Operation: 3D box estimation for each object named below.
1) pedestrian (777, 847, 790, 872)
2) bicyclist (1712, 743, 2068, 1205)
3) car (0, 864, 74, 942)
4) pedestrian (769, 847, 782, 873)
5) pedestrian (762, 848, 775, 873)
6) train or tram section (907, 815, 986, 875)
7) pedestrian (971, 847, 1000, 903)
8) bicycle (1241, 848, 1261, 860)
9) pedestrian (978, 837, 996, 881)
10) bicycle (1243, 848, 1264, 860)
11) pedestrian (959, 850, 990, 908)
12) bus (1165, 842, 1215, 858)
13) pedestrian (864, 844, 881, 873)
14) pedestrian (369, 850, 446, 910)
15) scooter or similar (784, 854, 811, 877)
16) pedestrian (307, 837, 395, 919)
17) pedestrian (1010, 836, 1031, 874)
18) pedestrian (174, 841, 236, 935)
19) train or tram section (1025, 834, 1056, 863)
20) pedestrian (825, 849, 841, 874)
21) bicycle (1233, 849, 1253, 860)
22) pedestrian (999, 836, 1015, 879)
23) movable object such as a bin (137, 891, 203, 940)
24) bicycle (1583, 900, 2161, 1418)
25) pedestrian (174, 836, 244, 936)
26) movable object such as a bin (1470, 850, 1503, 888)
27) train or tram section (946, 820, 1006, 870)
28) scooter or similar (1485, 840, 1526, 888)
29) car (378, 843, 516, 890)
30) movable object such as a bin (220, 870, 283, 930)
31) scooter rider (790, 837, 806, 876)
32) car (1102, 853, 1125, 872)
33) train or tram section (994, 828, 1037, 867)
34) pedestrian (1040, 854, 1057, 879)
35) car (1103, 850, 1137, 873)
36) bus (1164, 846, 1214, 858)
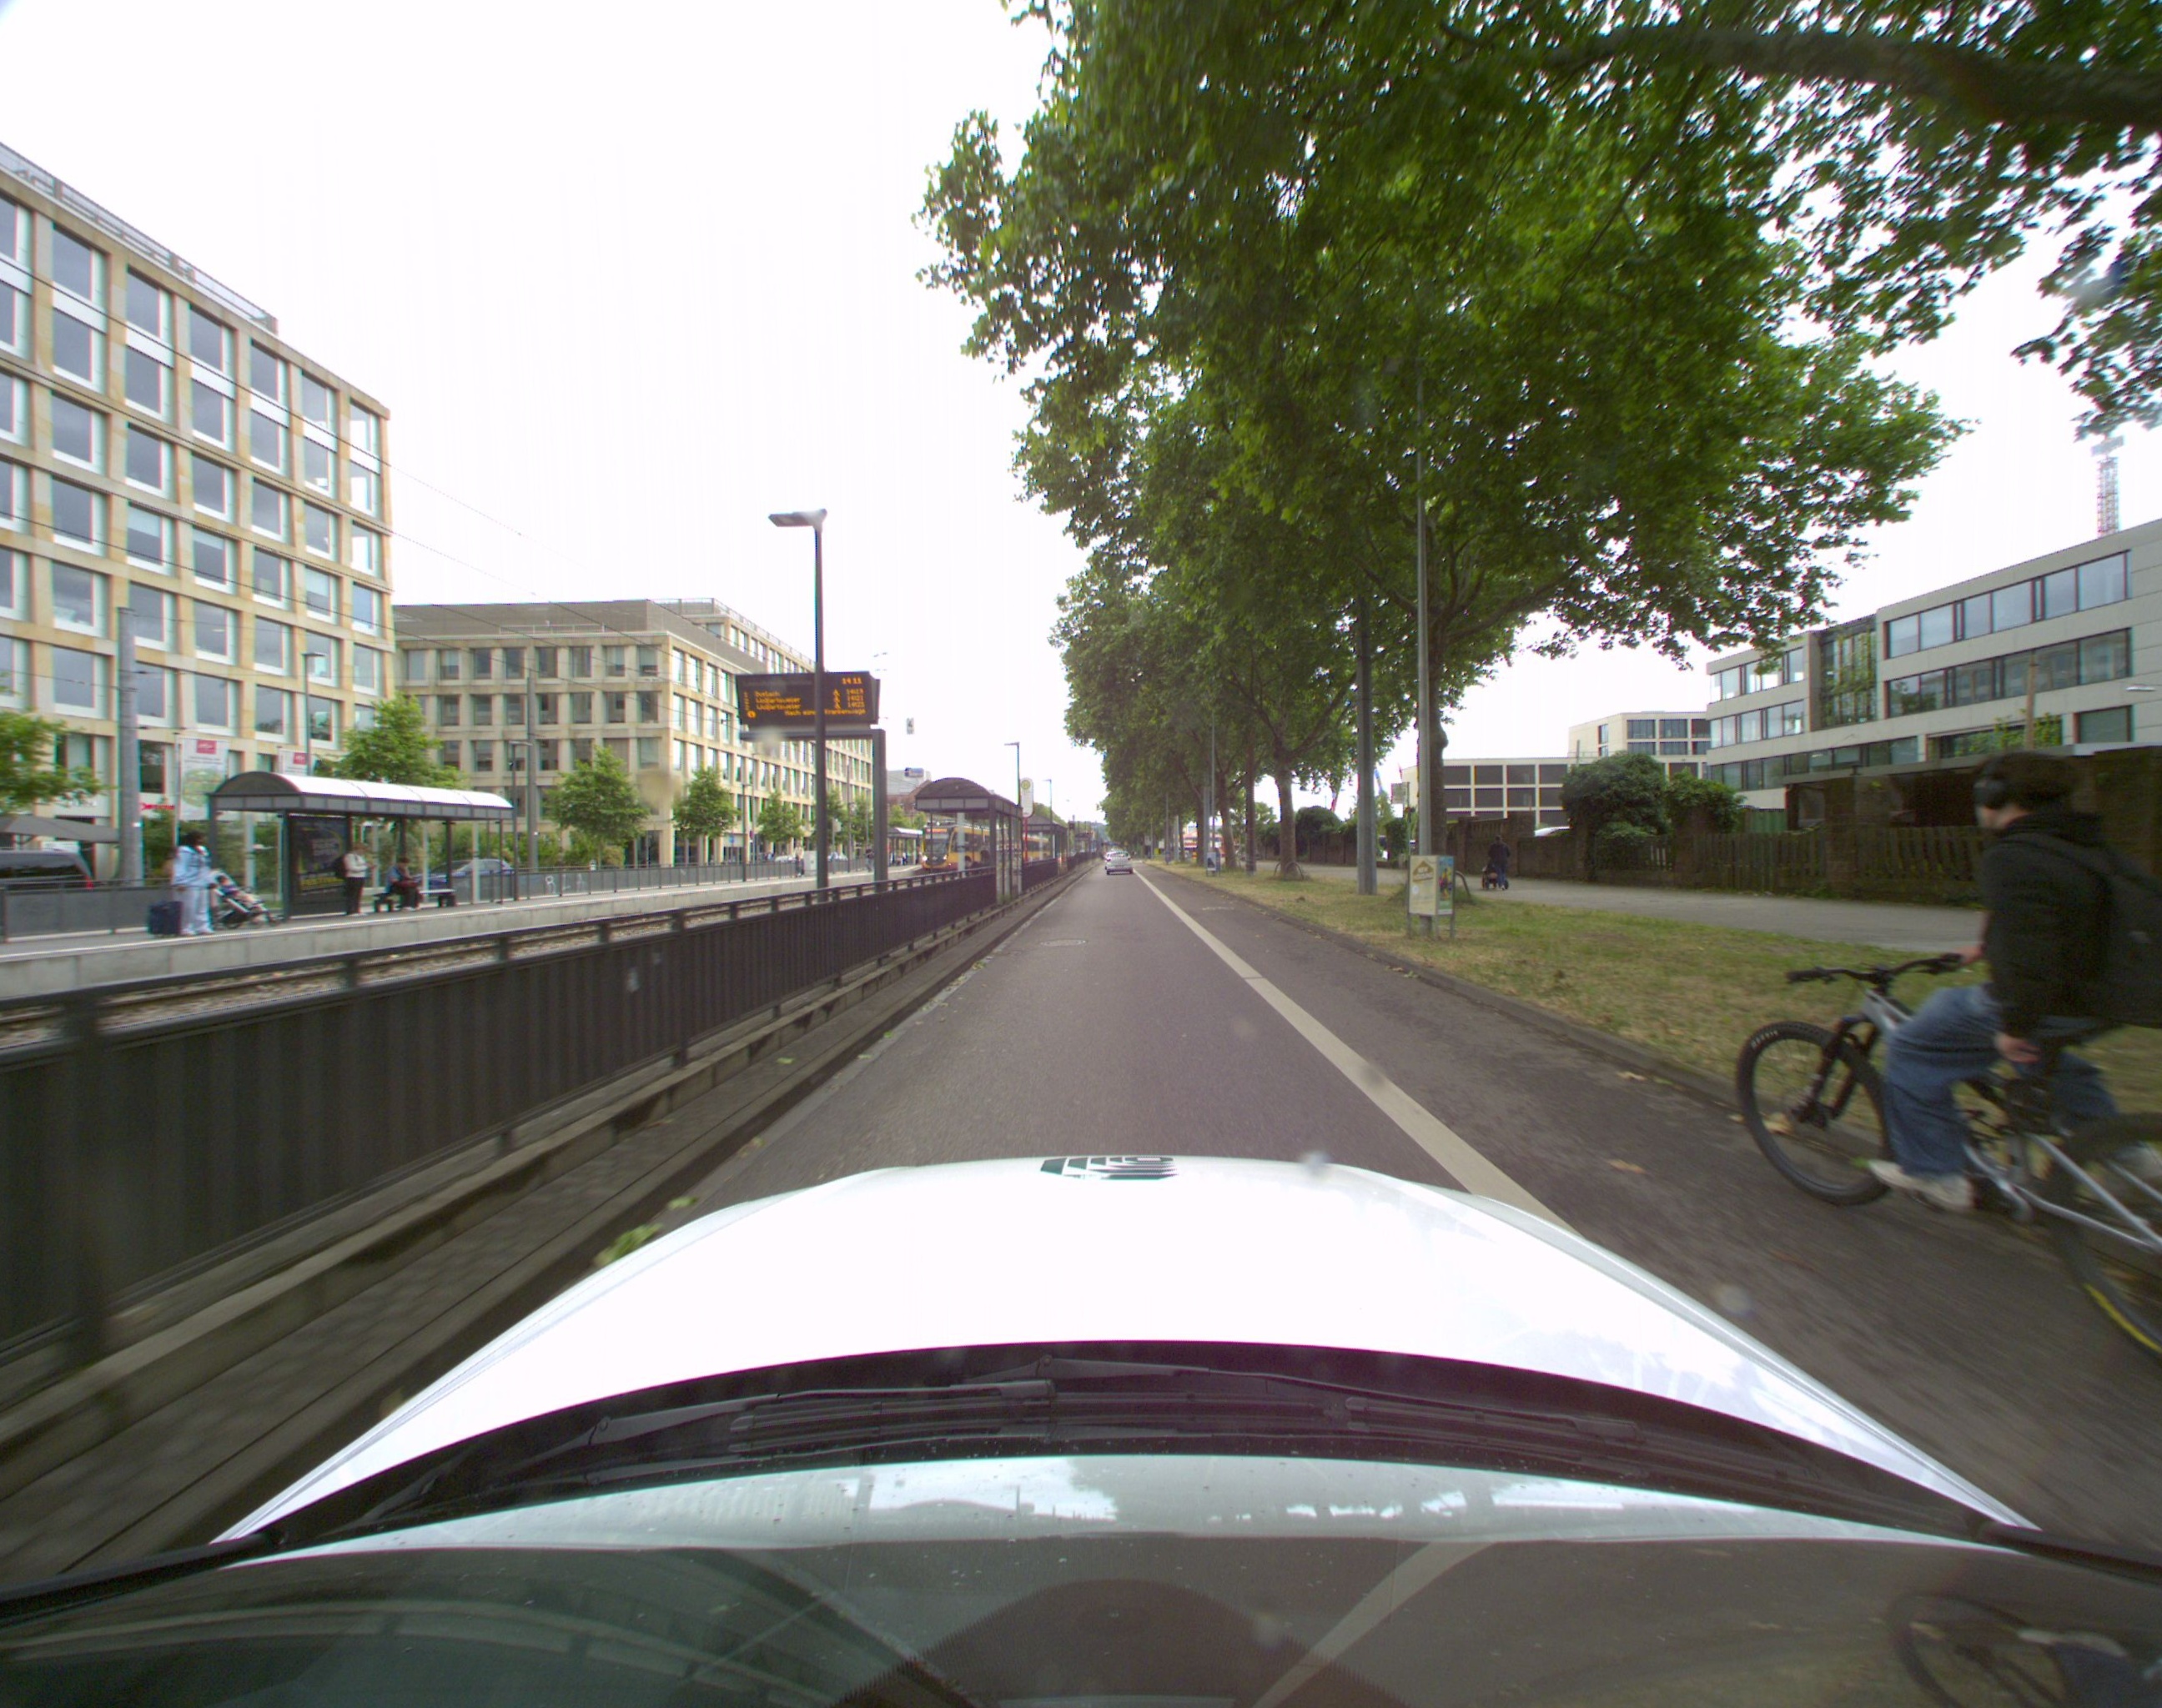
[{"bbox_3d":[-24.383,0.478,66.757,0.710,2.014,0.725,-1,-1,1],"label":"pedestrian"},{"bbox_3d":[2.958,0.400,3.051,0.639,1.531,0.664,-1,-1,0],"label":"bicyclist"},{"bbox_3d":[-24.289,1.074,16.777,1.984,1.662,4.005,-1,0,4],"label":"car"},{"bbox_3d":[-24.428,0.467,65.181,0.710,2.014,0.725,-1,-1,1],"label":"pedestrian"},{"bbox_3d":[-25.296,0.520,65.991,0.710,2.014,0.725,-1,-1,2],"label":"pedestrian"},{"bbox_3d":[-9.432,-0.520,58.800,3.224,3.862,11.319,-1,0,3],"label":"train or tram section"},{"bbox_3d":[-2.397,0.522,20.500,0.608,1.372,0.600,-1,-1,2],"label":"pedestrian"},{"bbox_3d":[16.953,0.040,81.219,1.894,1.097,0.550,-3,-1,0],"label":"bicycle"},{"bbox_3d":[-3.941,0.215,34.167,0.670,1.793,1.109,-1,-1,-11],"label":"pedestrian"},{"bbox_3d":[17.095,0.043,80.639,1.883,1.105,0.550,-3,-1,0],"label":"bicycle"},{"bbox_3d":[-2.500,0.577,19.215,0.608,1.341,0.600,-1,-1,2],"label":"pedestrian"},{"bbox_3d":[21.144,-0.749,158.156,9.248,2.960,1.999,-1,-1,-1],"label":"bus"},{"bbox_3d":[-13.045,0.270,50.882,0.709,1.795,1.161,-1,-1,1],"label":"pedestrian"},{"bbox_3d":[-16.033,0.616,19.402,1.033,1.372,0.940,-1,-1,5],"label":"pedestrian"},{"bbox_3d":[-14.645,0.587,42.077,0.521,1.114,2.227,-1,0,2],"label":"scooter or similar"},{"bbox_3d":[-15.635,0.501,17.469,1.033,1.686,0.940,-1,-1,5],"label":"pedestrian"},{"bbox_3d":[-3.336,0.054,44.846,1.054,2.014,0.840,-1,-1,2],"label":"pedestrian"},{"bbox_3d":[-15.453,0.589,14.375,0.581,1.607,0.650,-1,-1,-31],"label":"pedestrian"},{"bbox_3d":[-6.148,-0.708,126.368,3.167,4.179,14.744,-1,0,3],"label":"train or tram section"},{"bbox_3d":[-20.382,0.622,66.972,0.929,2.014,1.032,-1,-1,1],"label":"pedestrian"},{"bbox_3d":[17.094,0.090,85.799,1.915,1.091,0.550,-3,-1,0],"label":"bicycle"},{"bbox_3d":[-3.188,0.156,35.038,0.669,1.793,1.110,-1,-1,-6],"label":"pedestrian"},{"bbox_3d":[-14.397,0.964,12.875,0.532,0.747,0.470,-1,-1,9],"label":"movable object such as a bin"},{"bbox_3d":[2.975,0.818,3.158,0.650,1.150,2.283,-1,0,1],"label":"bicycle"},{"bbox_3d":[-14.334,0.520,13.394,0.532,1.607,0.567,-1,-1,9],"label":"pedestrian"},{"bbox_3d":[12.297,0.433,24.712,0.608,1.112,1.017,-1,0,8],"label":"movable object such as a bin"},{"bbox_3d":[-8.859,-0.690,70.195,3.151,3.862,11.319,-1,0,3],"label":"train or tram section"},{"bbox_3d":[12.228,0.291,23.500,0.574,1.354,1.156,-1,-1,1],"label":"scooter or similar"},{"bbox_3d":[-24.199,0.455,31.302,1.984,1.662,4.005,-1,0,4],"label":"car"},{"bbox_3d":[-14.900,0.814,14.648,0.623,1.021,0.715,-1,-1,-31],"label":"movable object such as a bin"},{"bbox_3d":[-14.640,0.118,42.151,0.514,2.009,0.682,-1,-1,2],"label":"scooter rider"},{"bbox_3d":[2.902,0.716,72.259,1.833,1.552,4.004,-2,0,4],"label":"car"},{"bbox_3d":[-7.574,-0.672,96.893,3.167,4.179,14.744,-1,0,3],"label":"train or tram section"},{"bbox_3d":[-1.685,0.641,42.767,0.832,1.303,0.613,-1,-1,0],"label":"pedestrian"},{"bbox_3d":[2.621,0.466,54.522,1.875,1.453,4.009,-1,0,8],"label":"car"},{"bbox_3d":[20.573,-0.402,155.063,9.248,2.227,1.999,-1,-1,-1],"label":"bus"}]
